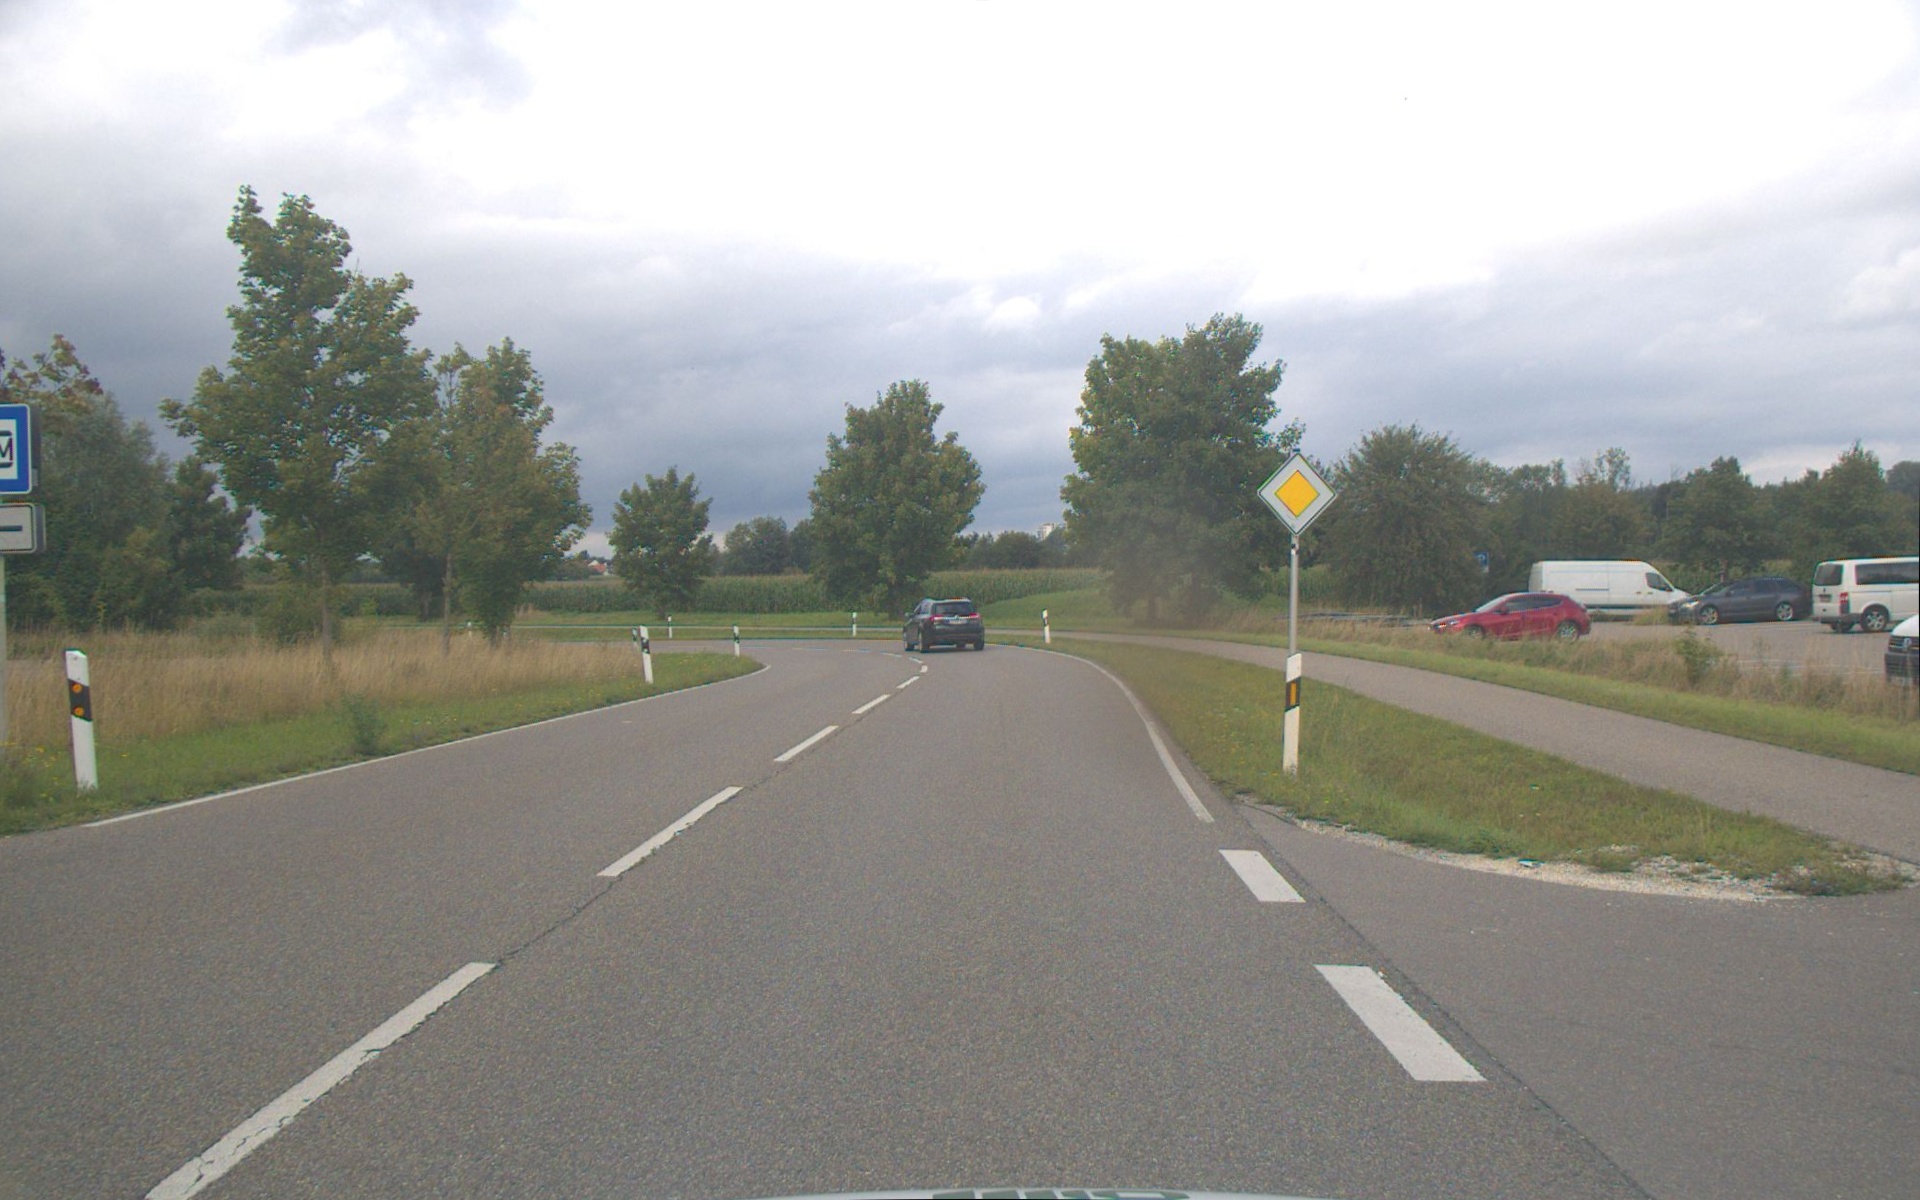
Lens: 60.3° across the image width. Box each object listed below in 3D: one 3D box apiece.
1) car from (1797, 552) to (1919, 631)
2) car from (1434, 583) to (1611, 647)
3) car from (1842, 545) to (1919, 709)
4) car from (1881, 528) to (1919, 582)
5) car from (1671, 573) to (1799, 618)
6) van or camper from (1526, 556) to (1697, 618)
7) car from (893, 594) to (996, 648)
[{"bbox_3d":[26.201,-0.286,45.753,4.924,2.035,2.231,-2,0,-1],"label":"car"},{"bbox_3d":[15.678,0.393,46.274,4.241,1.603,1.971,-2,0,-1],"label":"car"},{"bbox_3d":[14.166,0.305,21.058,4.845,2.008,1.955,-1,0,-1],"label":"car"},{"bbox_3d":[30.881,-1.395,51.023,3.911,1.624,1.997,-1,0,-7],"label":"car"},{"bbox_3d":[26.198,-0.142,55.977,3.550,1.465,1.707,-1,0,2],"label":"car"},{"bbox_3d":[28.319,-0.546,72.013,6.601,2.606,2.050,-1,0,3],"label":"van or camper"},{"bbox_3d":[-0.494,0.573,46.898,1.813,1.442,3.979,-1,0,-18],"label":"car"}]
